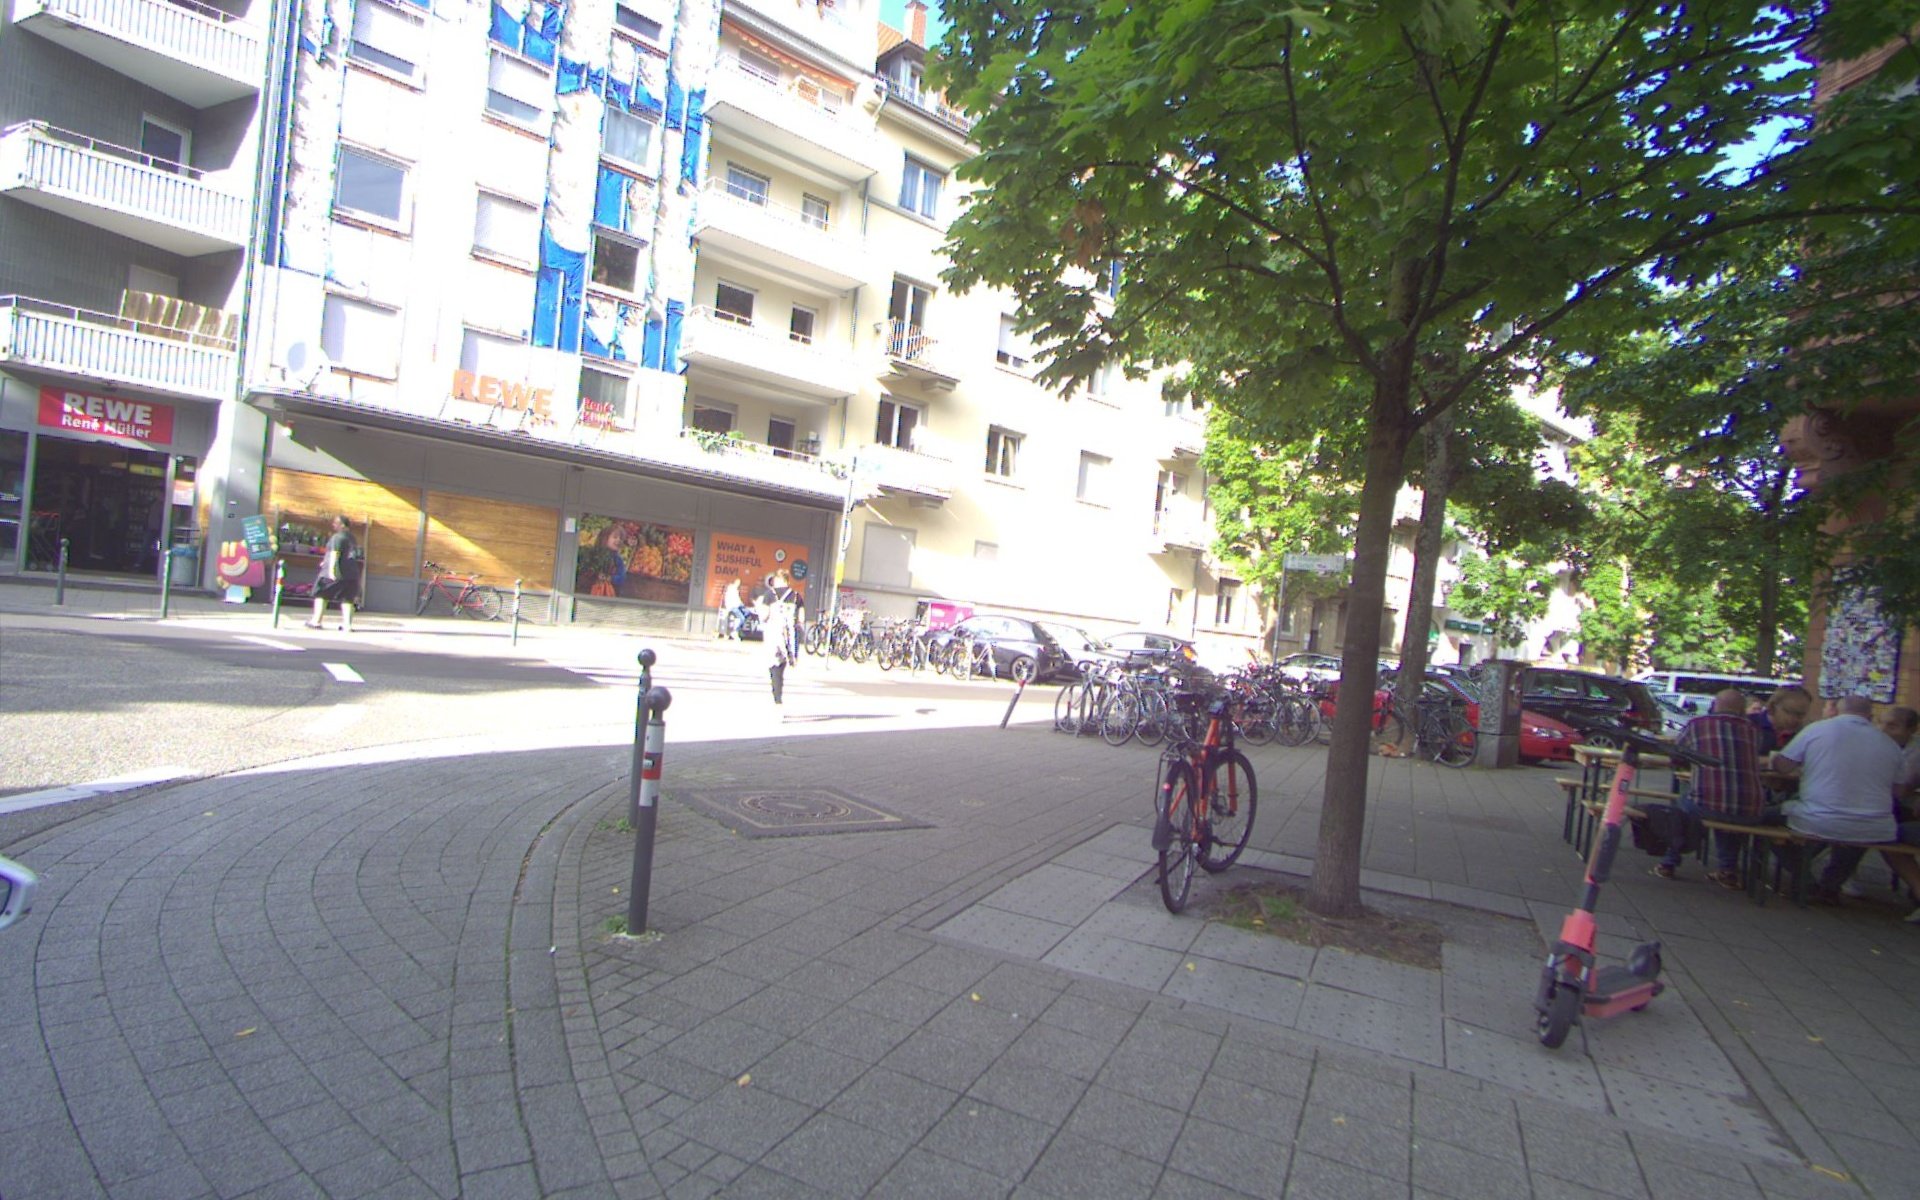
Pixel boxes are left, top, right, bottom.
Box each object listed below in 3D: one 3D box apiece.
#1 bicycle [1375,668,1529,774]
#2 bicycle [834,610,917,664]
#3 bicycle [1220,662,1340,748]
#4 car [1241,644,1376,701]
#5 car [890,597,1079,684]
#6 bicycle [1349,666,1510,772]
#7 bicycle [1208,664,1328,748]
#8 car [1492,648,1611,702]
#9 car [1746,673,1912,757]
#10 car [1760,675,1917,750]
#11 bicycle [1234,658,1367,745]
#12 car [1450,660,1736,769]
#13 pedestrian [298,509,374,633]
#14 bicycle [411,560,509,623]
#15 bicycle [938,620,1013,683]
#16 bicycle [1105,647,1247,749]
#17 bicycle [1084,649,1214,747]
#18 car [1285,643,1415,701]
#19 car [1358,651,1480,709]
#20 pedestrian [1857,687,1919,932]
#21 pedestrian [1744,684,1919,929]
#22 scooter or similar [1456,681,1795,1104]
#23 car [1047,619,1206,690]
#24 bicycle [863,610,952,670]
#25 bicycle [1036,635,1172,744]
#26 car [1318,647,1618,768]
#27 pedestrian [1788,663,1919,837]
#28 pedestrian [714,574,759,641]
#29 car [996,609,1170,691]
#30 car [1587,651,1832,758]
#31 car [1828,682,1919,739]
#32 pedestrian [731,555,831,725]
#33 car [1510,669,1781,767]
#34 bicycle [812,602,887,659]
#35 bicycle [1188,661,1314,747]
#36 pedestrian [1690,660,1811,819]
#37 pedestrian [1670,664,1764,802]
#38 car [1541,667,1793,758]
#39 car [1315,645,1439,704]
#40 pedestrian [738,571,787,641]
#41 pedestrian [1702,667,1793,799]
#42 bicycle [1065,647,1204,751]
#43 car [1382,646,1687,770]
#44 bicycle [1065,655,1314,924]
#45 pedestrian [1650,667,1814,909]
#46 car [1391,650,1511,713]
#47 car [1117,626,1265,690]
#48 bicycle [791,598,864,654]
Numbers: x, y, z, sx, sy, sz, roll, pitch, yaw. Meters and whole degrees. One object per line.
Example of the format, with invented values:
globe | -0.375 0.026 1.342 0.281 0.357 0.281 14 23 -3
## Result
bicycle | 6.619 1.595 13.637 0.423 1.149 1.834 4 1 -34
bicycle | -1.816 0.823 21.979 0.740 1.045 2.060 7 0 27
bicycle | 4.675 1.514 14.767 1.599 1.024 0.339 6 1 44
car | 11.301 2.323 32.790 3.925 1.349 2.000 6 0 19
car | 0.608 0.932 23.753 3.925 1.529 2.000 6 0 19
bicycle | 6.195 1.549 13.370 0.562 1.145 1.834 5 -1 -34
bicycle | 4.391 1.496 14.434 1.609 1.024 0.339 3 -1 44
car | 26.321 3.348 44.920 4.041 1.857 2.003 6 -2 17
car | 29.299 3.832 34.103 3.940 2.175 1.992 6 0 38
car | 31.227 3.957 35.884 3.945 2.039 1.990 6 0 42
bicycle | 5.086 1.505 15.139 1.827 1.094 0.425 4 -1 45
car | 12.563 2.222 20.191 1.985 1.450 4.376 6 0 -40
pedestrian | -9.366 -0.429 15.107 0.764 1.761 0.628 6 1 38
bicycle | -9.938 -0.165 20.050 1.663 1.063 0.455 6 1 -25
bicycle | 0.344 1.098 21.263 0.567 1.154 1.555 6 -2 42
bicycle | 2.818 1.264 13.369 0.476 1.103 2.069 5 -1 -31
bicycle | 2.430 1.251 13.206 0.338 1.066 2.026 5 -1 -31
car | 13.343 2.439 34.604 3.926 1.460 2.000 6 0 20
car | 17.340 2.994 38.251 3.926 1.683 2.000 6 0 20
pedestrian | 6.187 1.298 6.158 0.690 1.424 0.799 6 1 22
pedestrian | 5.564 1.259 6.405 0.586 1.359 0.758 6 1 22
scooter or similar | 2.591 1.016 3.881 1.239 1.290 0.657 6 1 -40
car | 4.567 1.455 27.456 3.925 1.440 2.000 6 0 17
bicycle | -1.077 0.881 21.514 0.740 1.155 2.323 7 0 27
bicycle | 1.751 1.080 12.592 0.425 1.170 1.982 5 -2 -32
car | 8.393 1.733 16.899 1.984 1.404 3.958 6 0 -39
pedestrian | 8.836 1.463 9.935 0.660 1.584 0.621 6 1 -17
pedestrian | -5.283 0.173 23.778 0.746 1.498 0.580 5 1 -39
car | 3.140 1.228 25.411 3.925 1.551 2.000 6 0 18
car | 18.375 2.514 24.831 1.985 1.973 4.376 6 0 -40
car | 39.399 4.721 42.369 1.986 2.036 3.958 8 -3 -40
pedestrian | -2.036 0.438 11.372 0.774 1.802 0.788 5 1 -26
car | 14.610 2.464 21.647 1.985 1.388 4.376 6 0 -40
bicycle | -2.403 0.694 22.208 0.477 1.155 2.143 7 0 26
bicycle | 4.063 1.437 14.122 1.599 1.024 0.478 4 -1 44
pedestrian | 8.488 1.488 10.816 0.681 1.584 0.602 6 1 -15
pedestrian | 9.376 1.635 12.467 0.694 1.584 0.630 5 1 -37
car | 16.414 2.579 23.541 1.985 1.433 4.376 6 0 -40
car | 14.989 2.657 36.397 3.926 1.605 2.000 6 0 20
pedestrian | -4.787 0.152 24.397 0.743 1.568 0.724 8 0 -38
pedestrian | 10.150 1.703 12.964 0.695 1.584 0.636 5 1 -37
bicycle | 2.175 1.229 12.848 0.476 1.117 2.012 5 -2 -31
car | 10.449 1.911 18.578 1.985 1.571 4.376 6 0 -40
bicycle | 1.308 0.897 5.382 0.642 1.108 1.927 6 0 31
pedestrian | 5.027 1.180 6.602 0.539 1.410 0.758 6 1 22
car | 19.387 3.201 39.933 3.926 1.950 2.000 6 0 20
car | 6.751 1.661 29.310 3.925 1.337 2.000 6 0 19
bicycle | -2.920 0.608 22.377 0.428 1.155 2.083 7 1 26
